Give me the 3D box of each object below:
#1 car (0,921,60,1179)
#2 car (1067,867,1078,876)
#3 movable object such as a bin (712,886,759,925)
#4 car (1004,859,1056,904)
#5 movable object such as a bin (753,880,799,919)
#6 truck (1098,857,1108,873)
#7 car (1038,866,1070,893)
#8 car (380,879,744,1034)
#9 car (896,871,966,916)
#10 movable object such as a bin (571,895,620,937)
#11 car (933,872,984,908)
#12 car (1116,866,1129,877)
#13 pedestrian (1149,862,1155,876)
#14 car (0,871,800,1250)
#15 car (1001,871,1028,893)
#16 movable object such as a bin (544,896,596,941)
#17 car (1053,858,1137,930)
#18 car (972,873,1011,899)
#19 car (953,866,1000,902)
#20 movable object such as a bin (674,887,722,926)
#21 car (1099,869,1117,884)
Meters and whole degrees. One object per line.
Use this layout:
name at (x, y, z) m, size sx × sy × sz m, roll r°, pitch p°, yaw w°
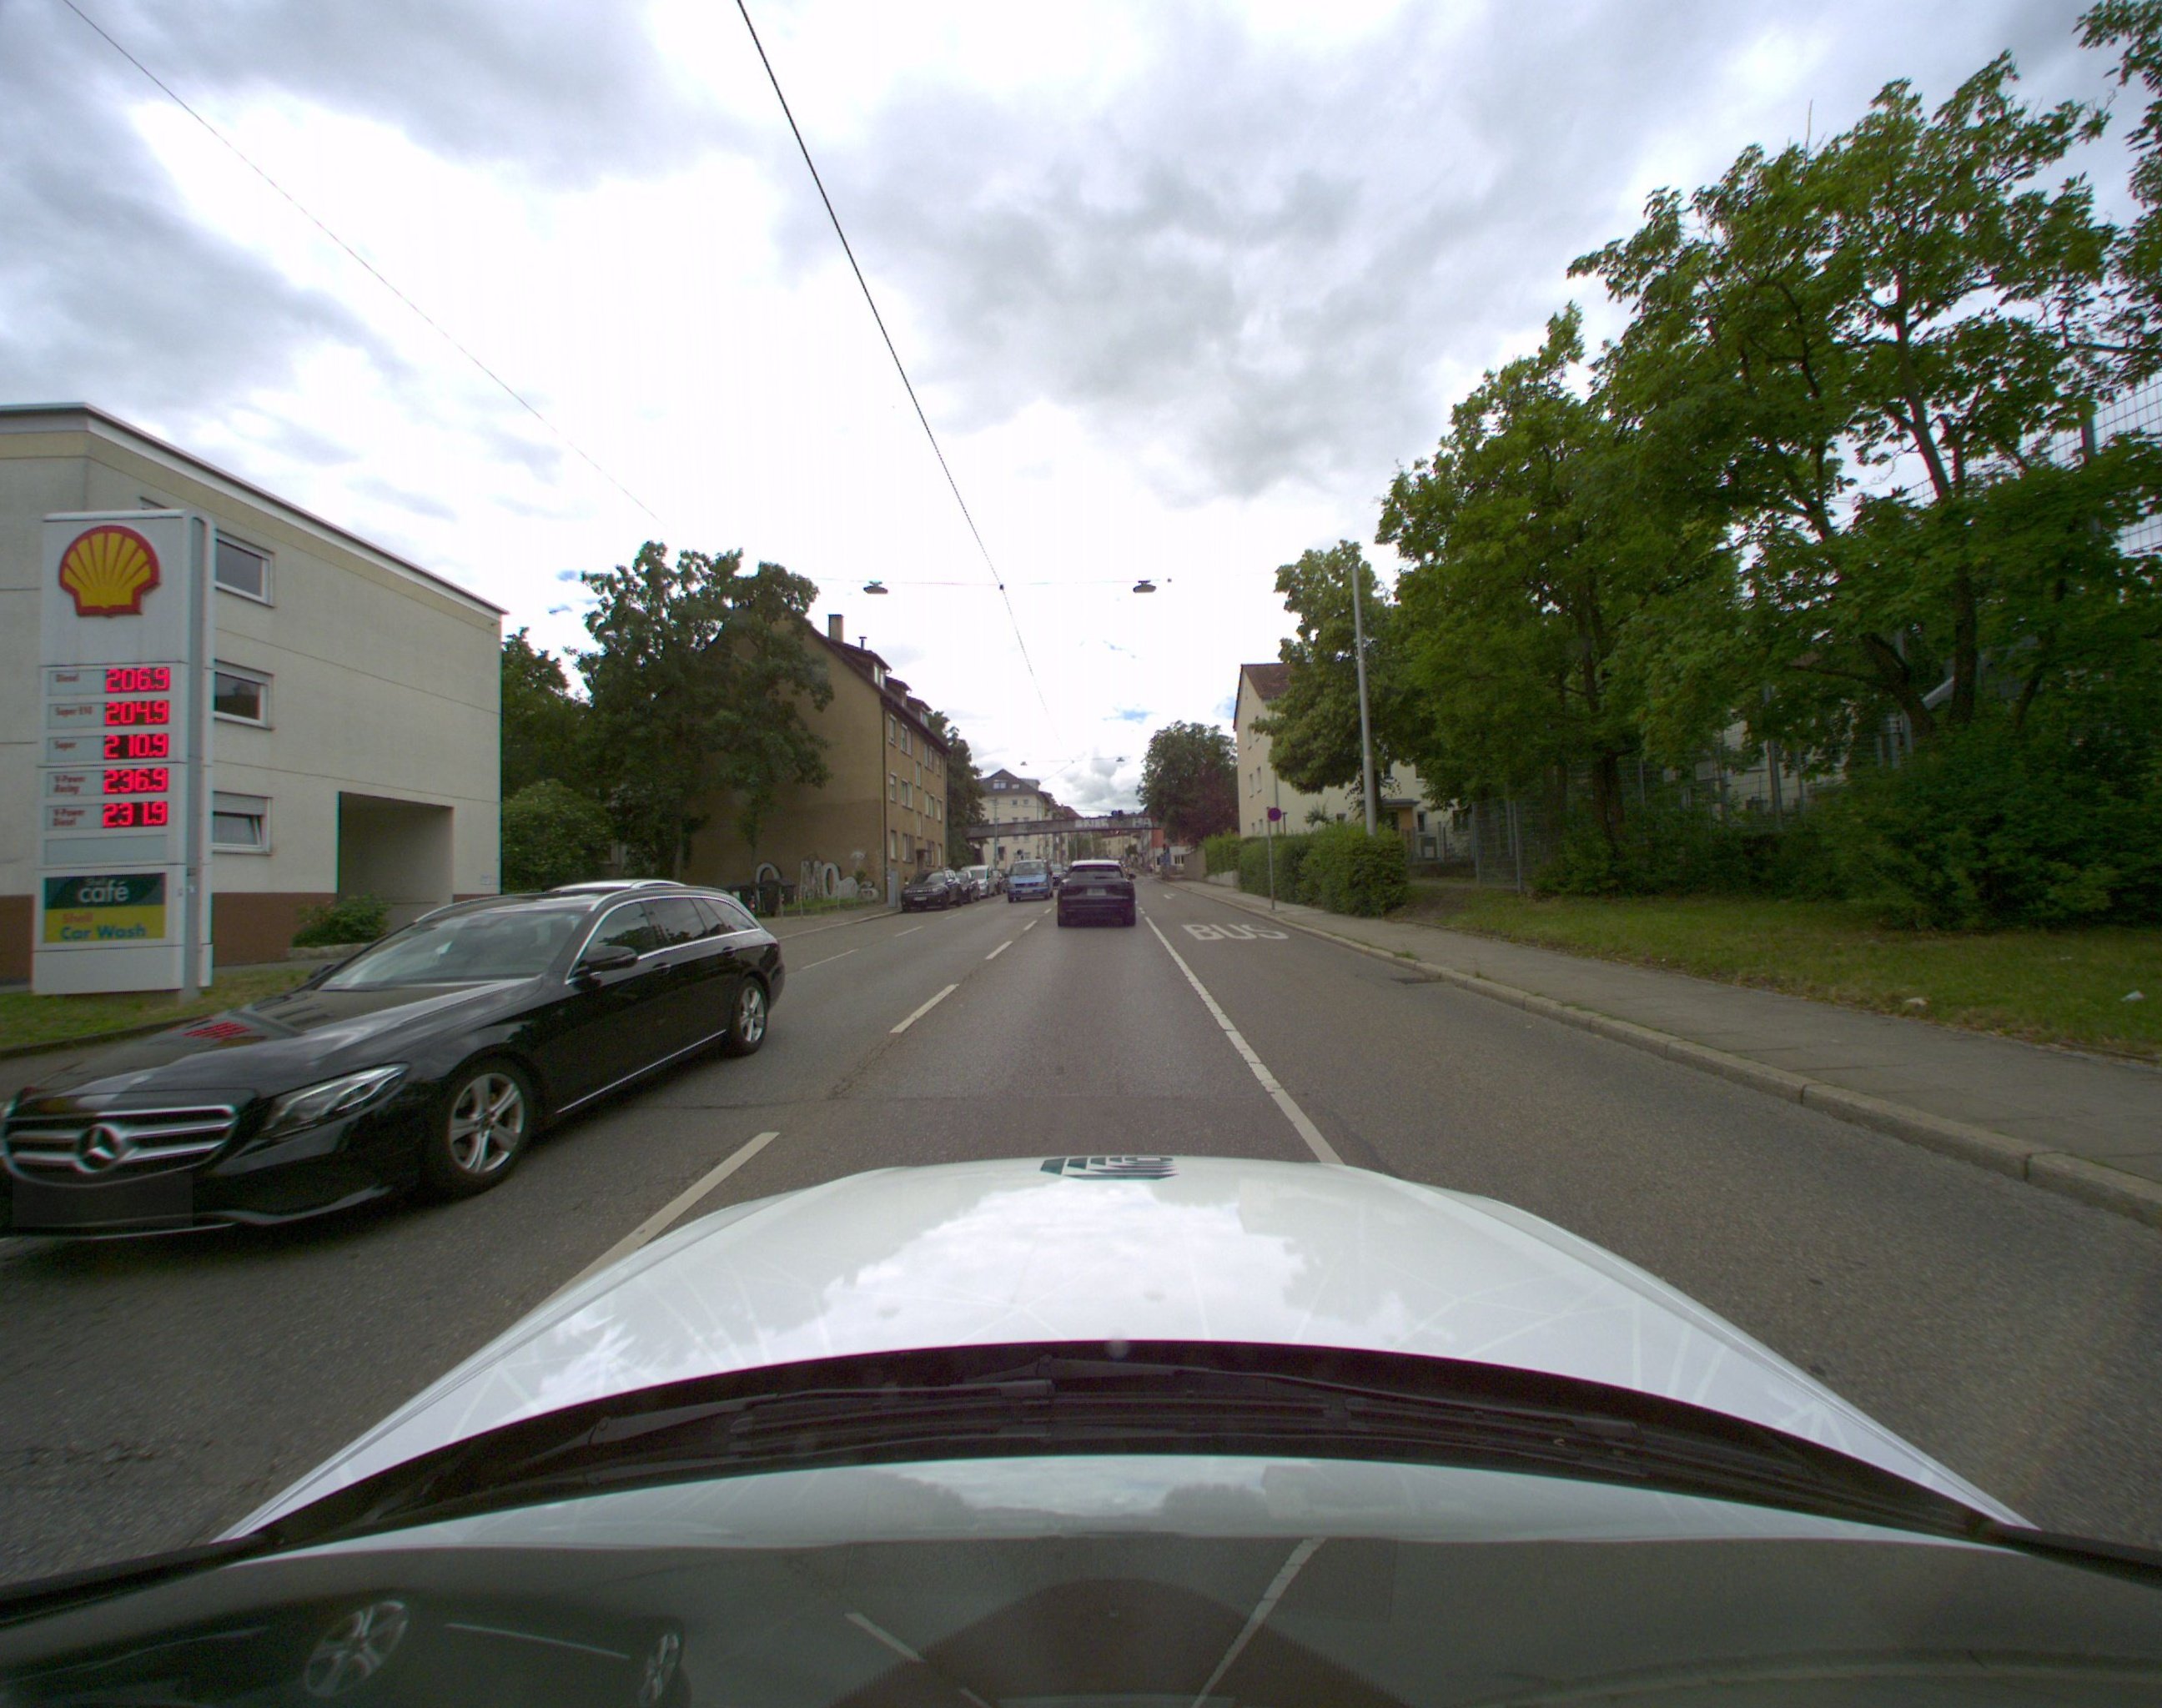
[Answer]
car at (-7.159, 1.141, 2.529) m, size 1.790 × 1.431 × 4.748 m, roll -3°, pitch -1°, yaw 4°
car at (-1.587, 3.458, 157.789) m, size 1.758 × 1.650 × 4.002 m, roll -2°, pitch -1°, yaw 2°
movable object such as a bin at (-13.245, 1.976, 31.234) m, size 1.388 × 1.428 × 0.913 m, roll -1°, pitch -1°, yaw -1°
car at (-2.304, 1.222, 38.059) m, size 1.924 × 1.901 × 4.591 m, roll -2°, pitch -1°, yaw 2°
movable object such as a bin at (-11.586, 1.711, 30.958) m, size 1.278 × 1.428 × 1.278 m, roll -1°, pitch -1°, yaw -3°
truck at (5.225, 2.610, 190.644) m, size 2.258 × 3.424 × 9.880 m, roll -2°, pitch -1°, yaw 2°
car at (-1.760, 1.677, 54.553) m, size 1.833 × 1.590 × 4.165 m, roll -3°, pitch -1°, yaw 2°
car at (-6.804, 1.220, 11.483) m, size 1.908 × 1.577 × 4.702 m, roll -3°, pitch -1°, yaw 2°
car at (-6.072, 1.568, 33.494) m, size 1.775 × 1.609 × 4.267 m, roll -4°, pitch -1°, yaw 3°
movable object such as a bin at (-17.583, 2.238, 29.544) m, size 0.907 × 1.428 × 1.397 m, roll -1°, pitch -1°, yaw -1°
car at (-5.787, 1.684, 38.916) m, size 1.746 × 1.530 × 4.098 m, roll -3°, pitch -1°, yaw 0°
car at (5.688, 2.450, 112.048) m, size 1.734 × 1.400 × 4.002 m, roll -1°, pitch 0°, yaw 2°
pedestrian at (8.870, 1.871, 101.624) m, size 0.650 × 1.792 × 0.714 m, roll -2°, pitch -1°, yaw -1°
car at (-3.712, 0.903, 5.612) m, size 1.771 × 1.466 × 4.501 m, roll -3°, pitch -1°, yaw 2°
car at (-5.138, 2.165, 63.319) m, size 1.740 × 1.568 × 3.907 m, roll -3°, pitch -1°, yaw 0°
movable object such as a bin at (-17.595, 2.205, 28.095) m, size 0.907 × 1.428 × 1.397 m, roll -1°, pitch -1°, yaw -1°
car at (0.411, 0.978, 21.614) m, size 1.986 × 1.662 × 4.002 m, roll -1°, pitch 0°, yaw 2°
car at (-5.461, 1.928, 49.994) m, size 1.739 × 1.439 × 3.914 m, roll -4°, pitch -1°, yaw 2°
car at (-5.652, 1.605, 44.707) m, size 1.770 × 1.754 × 4.559 m, roll -3°, pitch -1°, yaw 2°
movable object such as a bin at (-14.680, 1.999, 31.211) m, size 1.388 × 1.428 × 0.913 m, roll -1°, pitch -1°, yaw -1°
car at (2.784, 2.269, 83.167) m, size 1.734 × 1.400 × 4.002 m, roll -1°, pitch 0°, yaw 2°
